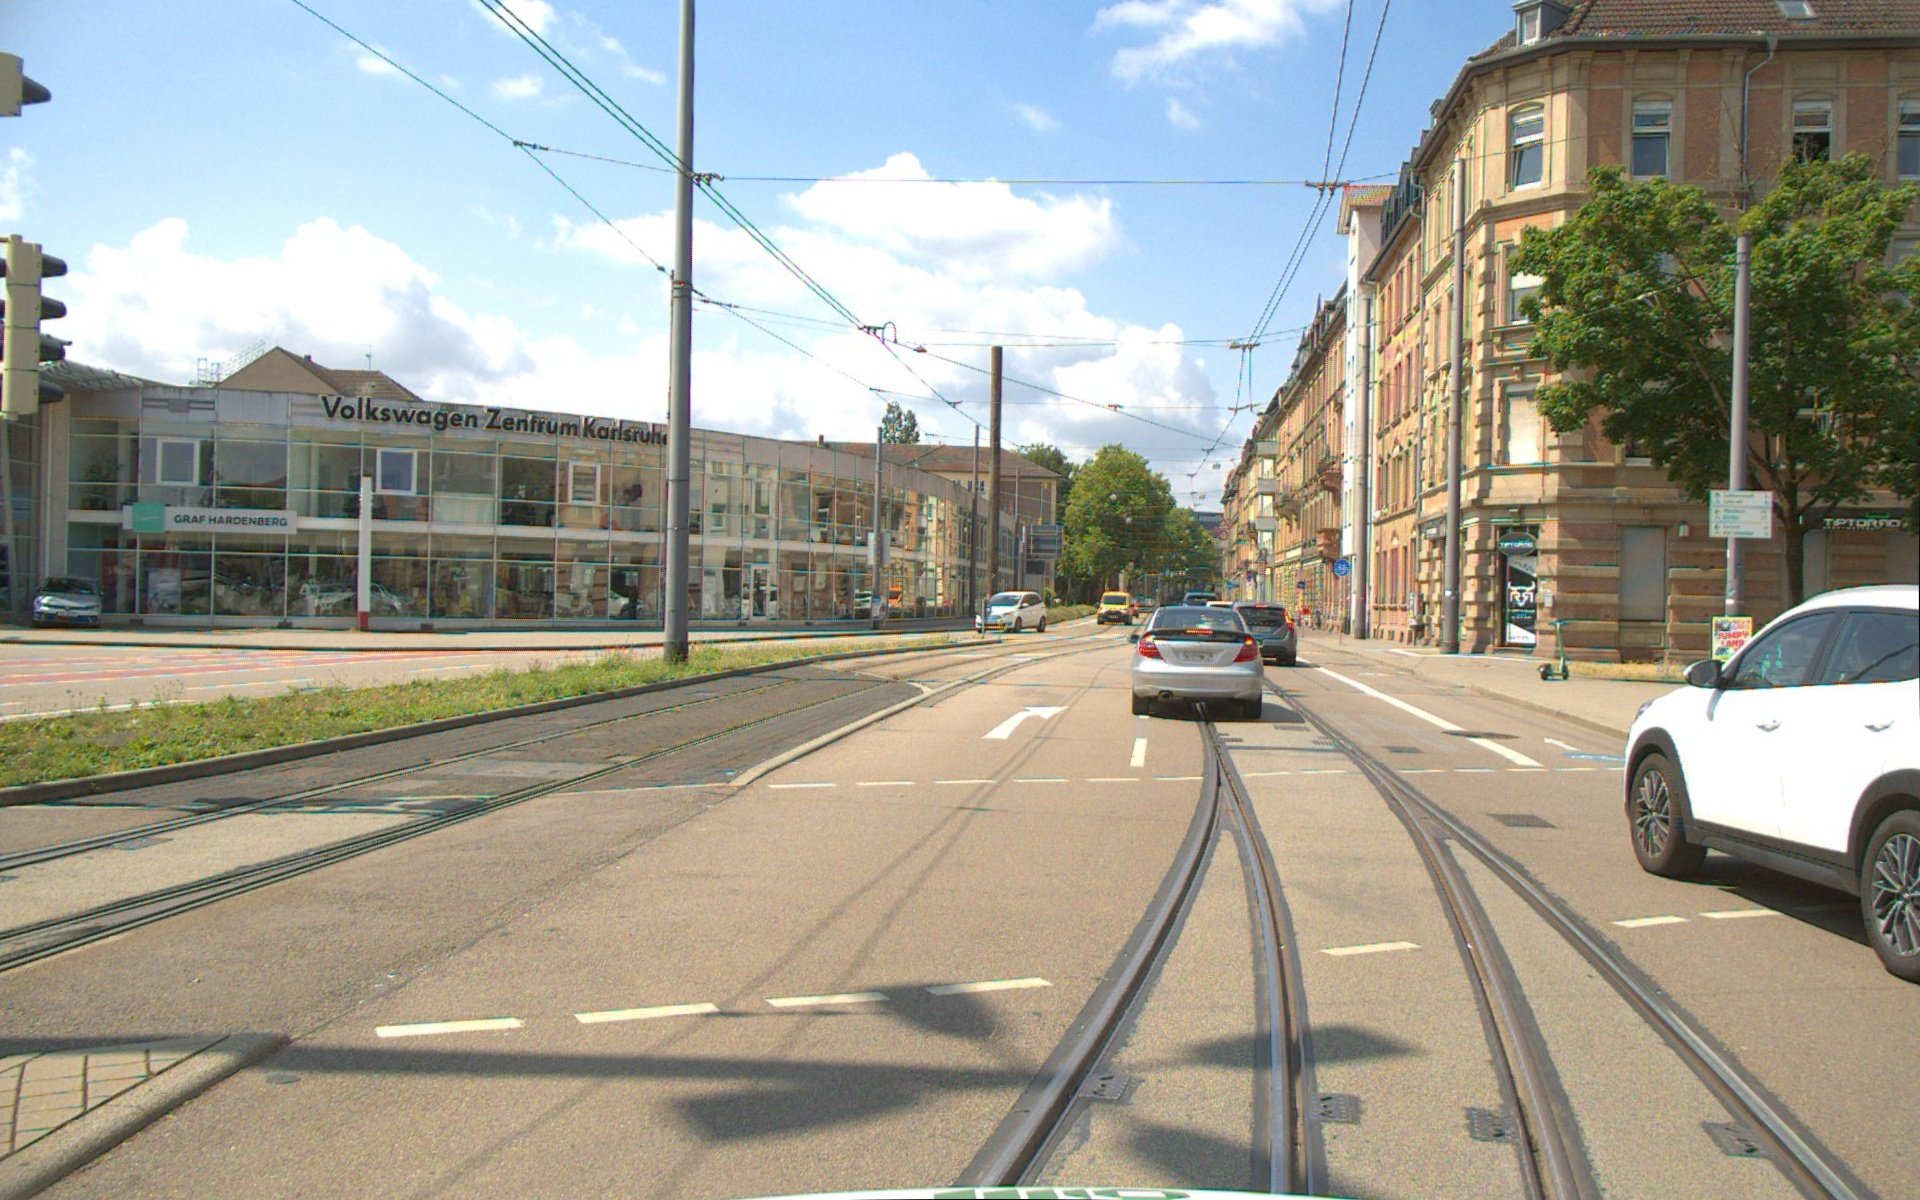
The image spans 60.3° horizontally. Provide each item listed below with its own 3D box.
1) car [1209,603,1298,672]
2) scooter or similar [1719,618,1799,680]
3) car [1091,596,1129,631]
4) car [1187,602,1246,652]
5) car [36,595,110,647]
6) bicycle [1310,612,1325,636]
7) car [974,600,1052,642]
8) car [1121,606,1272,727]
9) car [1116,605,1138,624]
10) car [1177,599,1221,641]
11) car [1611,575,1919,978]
[{"bbox_3d":[7.087,0.871,40.279,1.776,1.550,4.088,1,0,5],"label":"car"},{"bbox_3d":[15.981,0.968,33.109,0.928,1.224,1.390,0,-1,0],"label":"scooter or similar"},{"bbox_3d":[8.339,0.757,91.618,1.870,1.898,4.371,0,0,8],"label":"car"},{"bbox_3d":[8.551,0.874,55.402,1.776,1.551,3.958,1,0,7],"label":"car"},{"bbox_3d":[-26.005,0.598,48.500,1.809,1.472,3.909,1,0,-29],"label":"car"},{"bbox_3d":[18.781,1.256,86.867,0.574,1.199,2.206,0,0,8],"label":"bicycle"},{"bbox_3d":[2.200,0.839,67.758,1.730,1.632,4.492,-1,0,22],"label":"car"},{"bbox_3d":[3.122,0.825,22.504,1.776,1.445,4.190,1,0,5],"label":"car"},{"bbox_3d":[12.832,1.117,127.086,1.666,1.453,3.904,1,-1,6],"label":"car"},{"bbox_3d":[10.146,0.842,70.424,1.776,1.691,4.088,1,0,7],"label":"car"},{"bbox_3d":[4.898,0.735,8.082,1.814,1.662,4.181,1,0,1],"label":"car"}]
